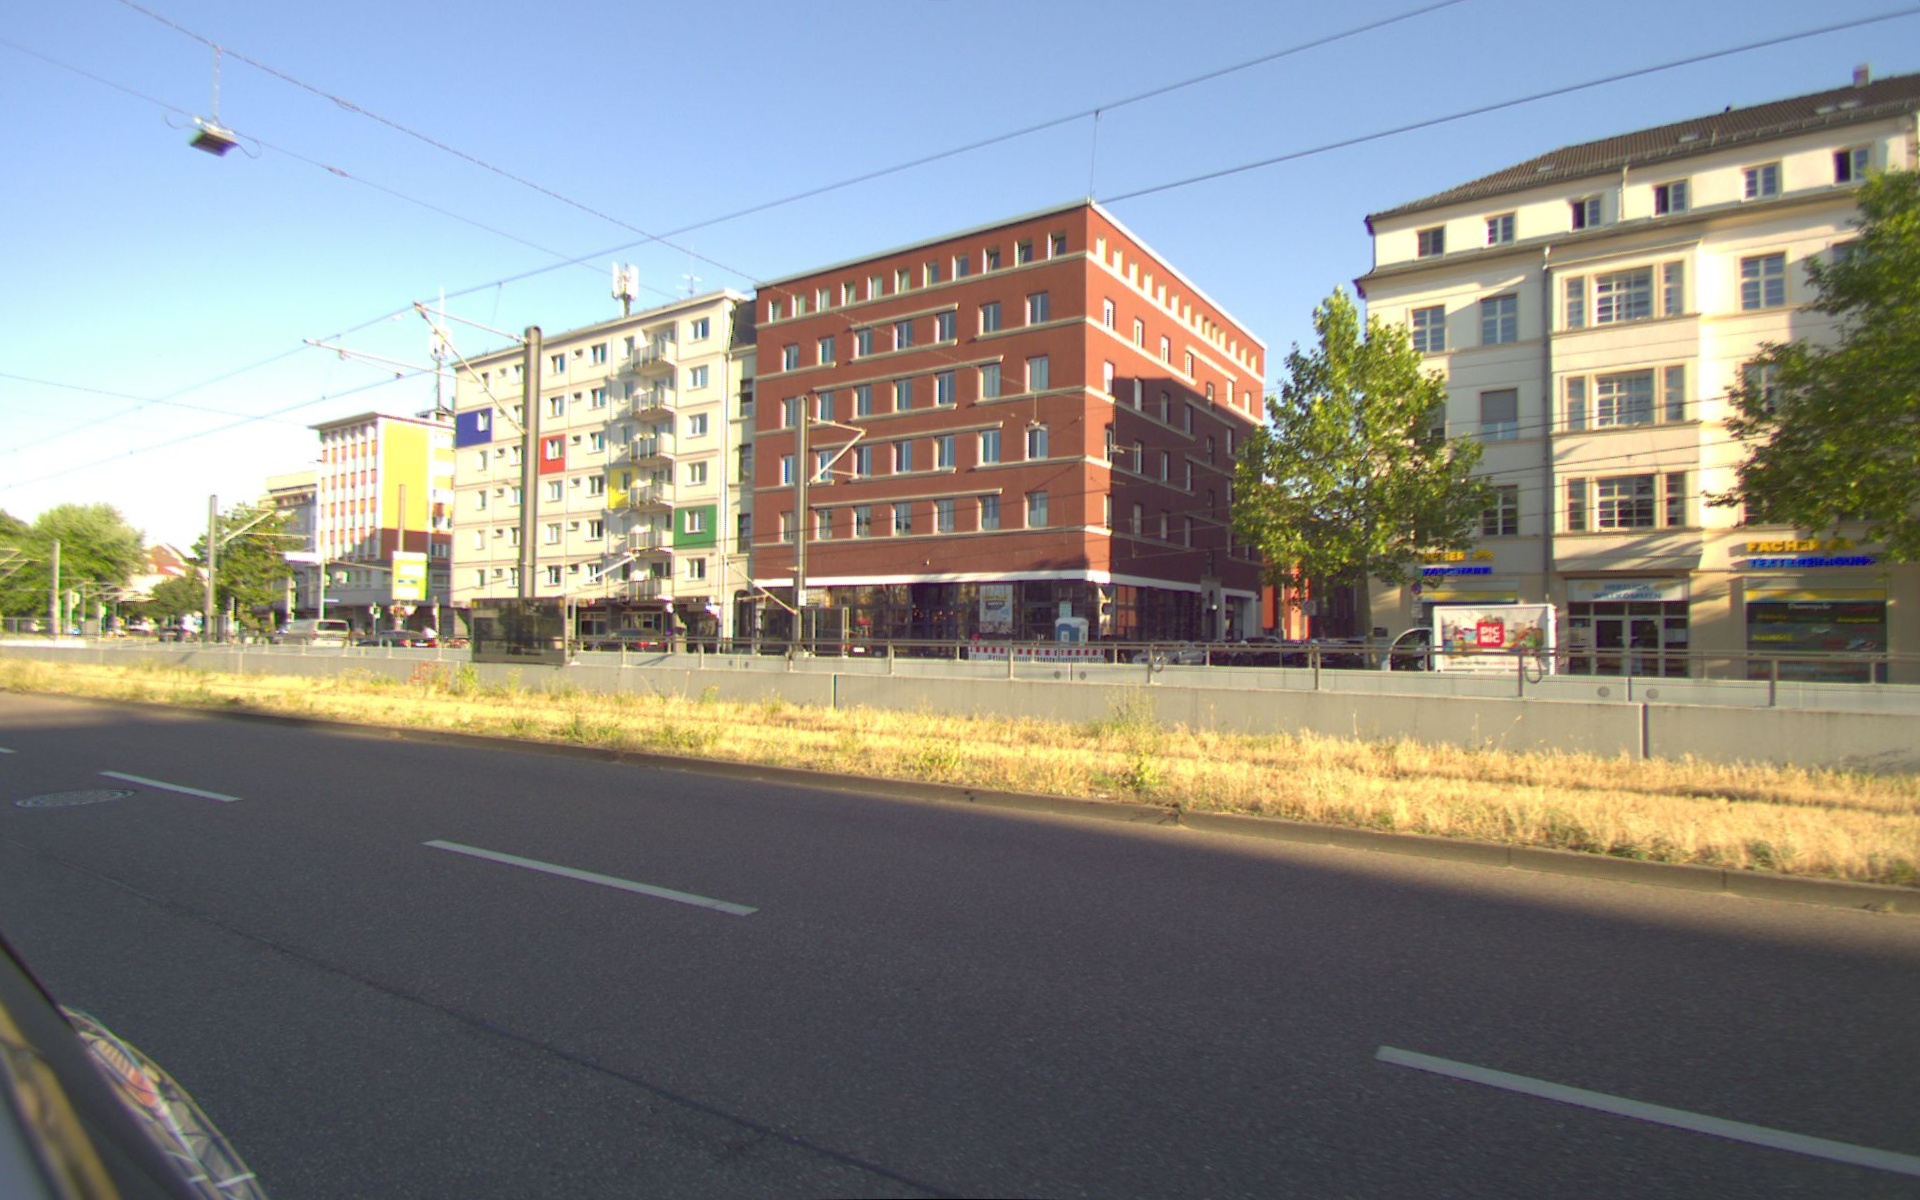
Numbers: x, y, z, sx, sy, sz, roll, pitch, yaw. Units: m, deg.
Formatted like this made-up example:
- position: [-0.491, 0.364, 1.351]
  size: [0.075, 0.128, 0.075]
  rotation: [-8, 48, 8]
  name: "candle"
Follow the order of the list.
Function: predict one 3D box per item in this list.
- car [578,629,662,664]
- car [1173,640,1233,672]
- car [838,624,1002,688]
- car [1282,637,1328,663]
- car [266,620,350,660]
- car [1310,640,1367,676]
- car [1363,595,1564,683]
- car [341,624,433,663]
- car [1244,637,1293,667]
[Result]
- position: [-18.835, 2.538, 55.942]
  size: [4.731, 1.811, 1.976]
  rotation: [-1, -2, 35]
  name: "car"
- position: [11.697, 2.663, 48.631]
  size: [1.638, 1.506, 3.544]
  rotation: [-1, -3, 34]
  name: "car"
- position: [-1.298, 1.695, 31.595]
  size: [4.969, 1.833, 1.976]
  rotation: [-1, -3, 36]
  name: "car"
- position: [20.362, 2.932, 59.595]
  size: [1.564, 1.486, 3.953]
  rotation: [-1, -3, 34]
  name: "car"
- position: [-34.847, 2.093, 54.054]
  size: [4.761, 2.029, 1.978]
  rotation: [-1, -2, 33]
  name: "car"
- position: [17.089, 2.601, 45.673]
  size: [1.546, 1.559, 3.491]
  rotation: [-1, -3, 36]
  name: "car"
- position: [13.296, 1.019, 26.813]
  size: [4.560, 2.150, 1.936]
  rotation: [-1, -3, 34]
  name: "car"
- position: [-27.543, 2.069, 48.594]
  size: [4.884, 1.811, 1.976]
  rotation: [-1, -2, 35]
  name: "car"
- position: [16.511, 2.762, 54.124]
  size: [1.450, 1.506, 3.829]
  rotation: [-1, -3, 34]
  name: "car"
